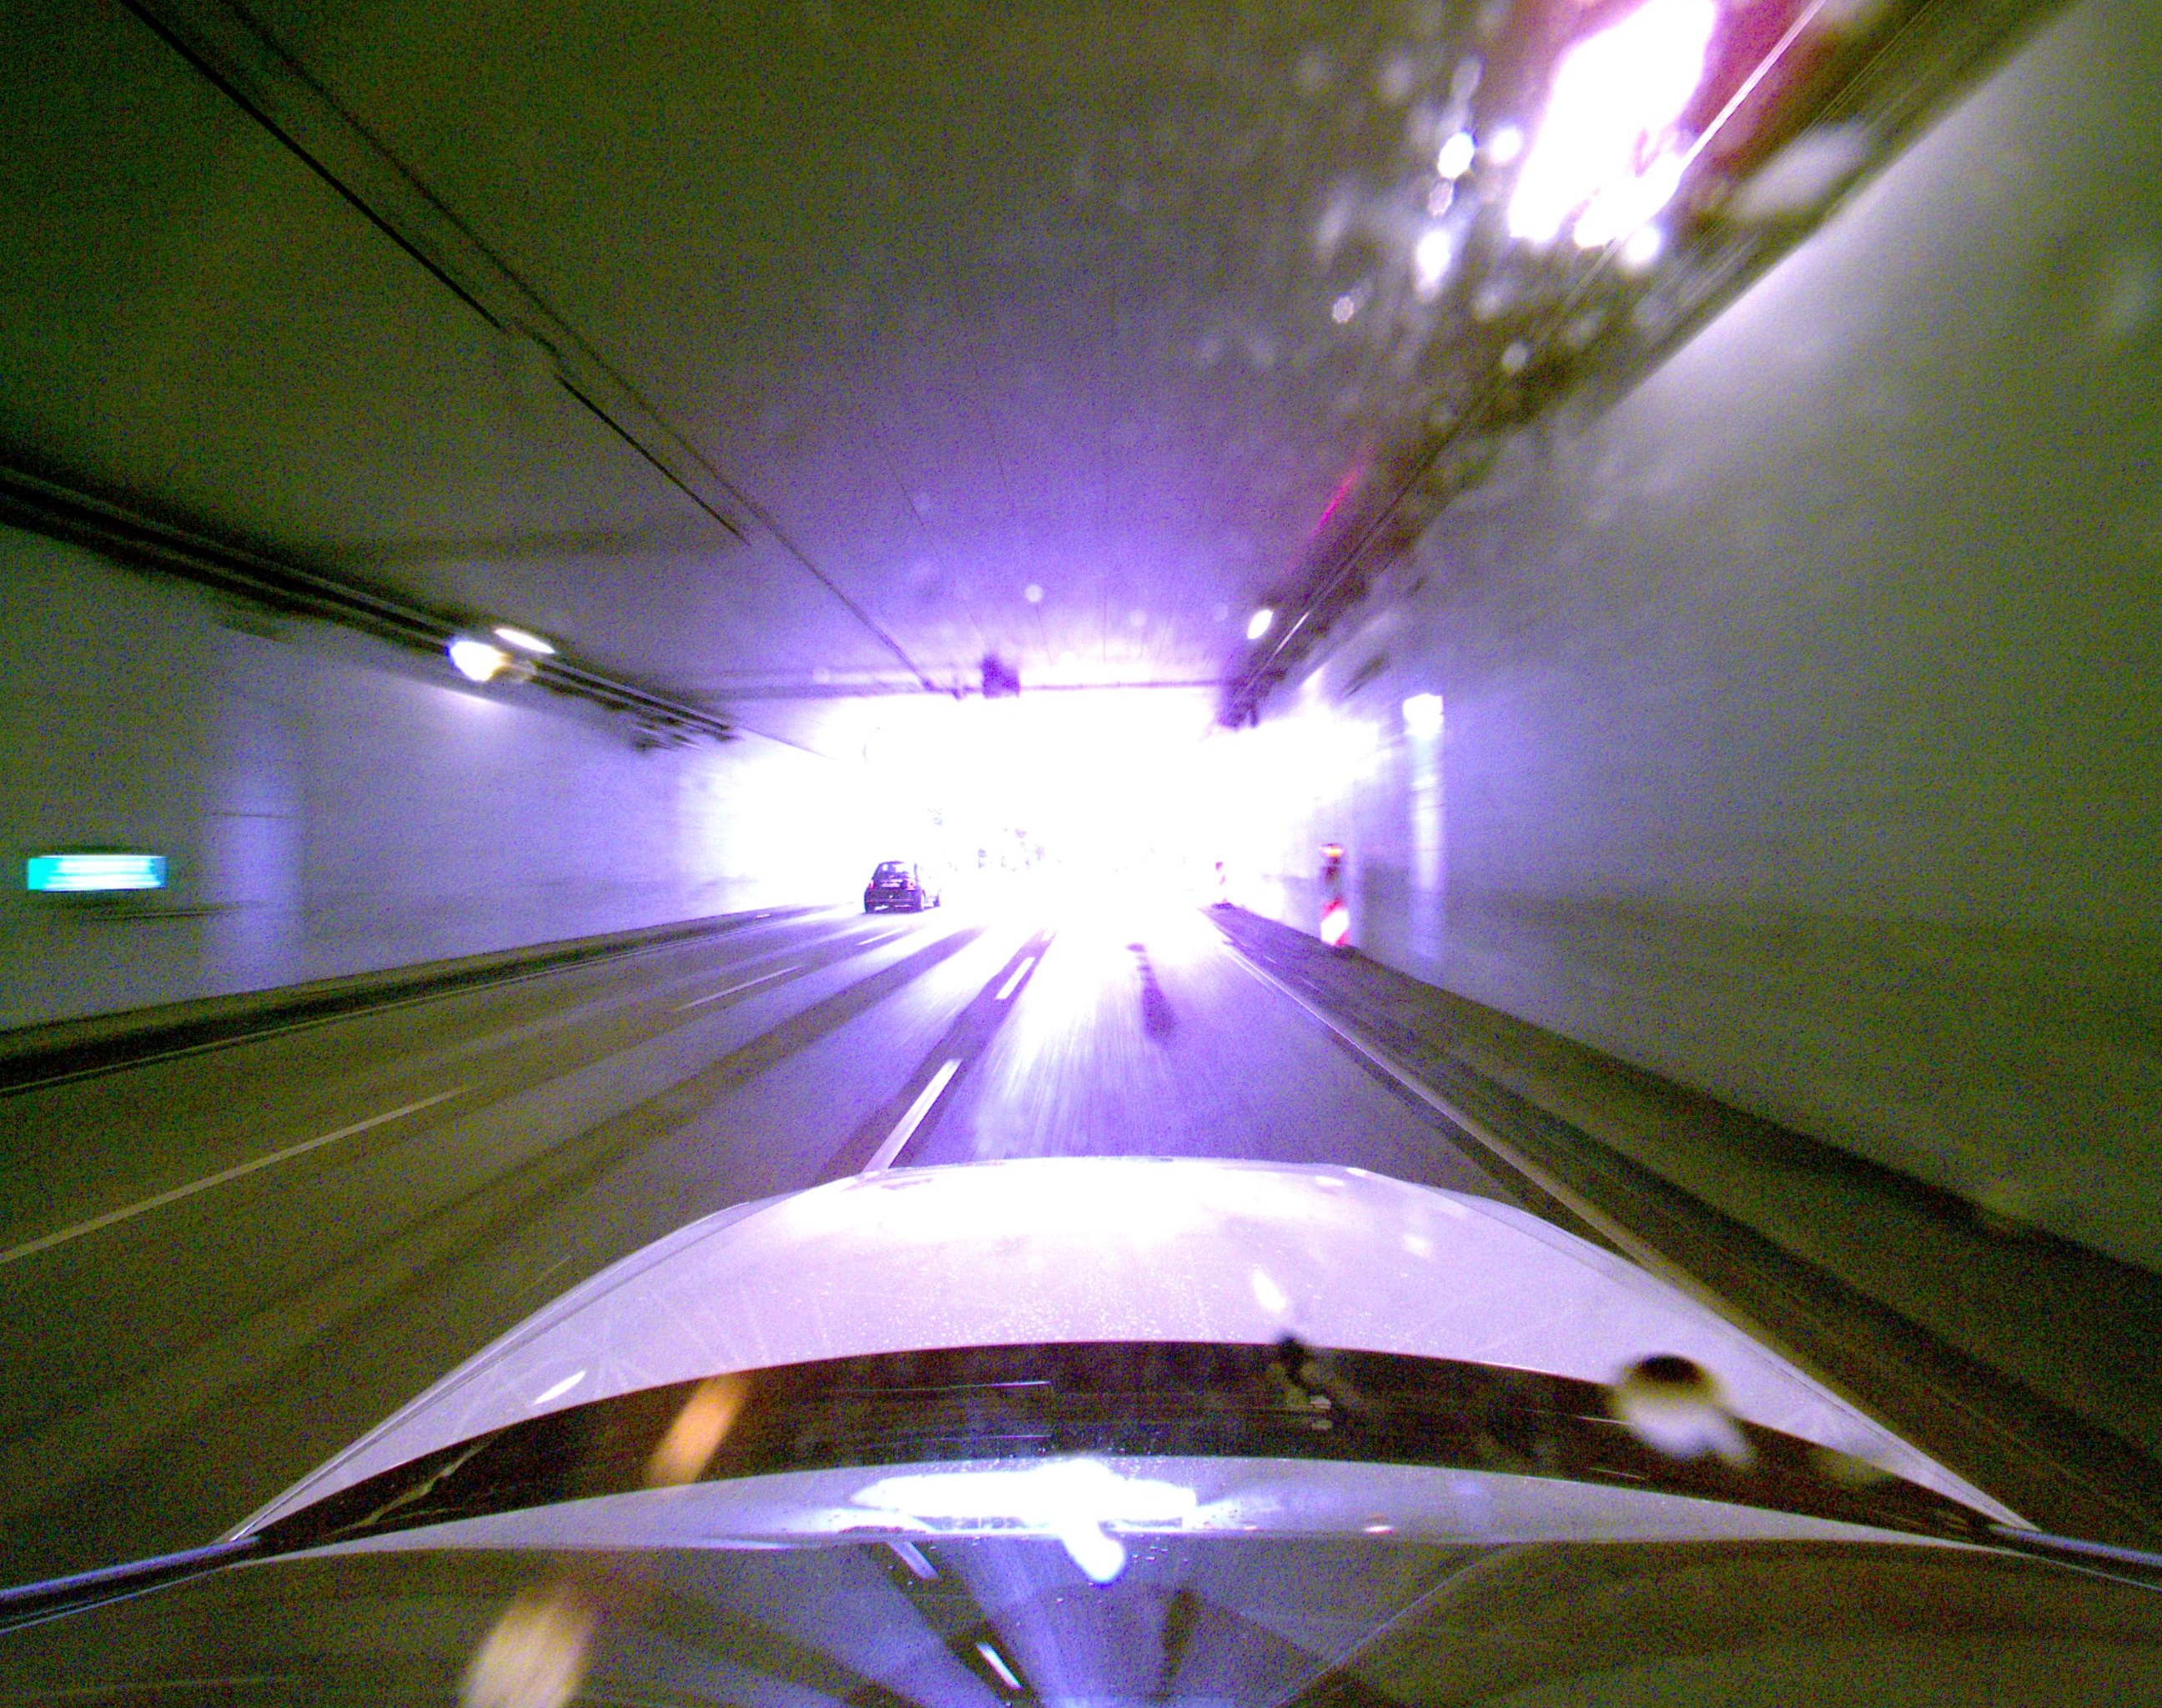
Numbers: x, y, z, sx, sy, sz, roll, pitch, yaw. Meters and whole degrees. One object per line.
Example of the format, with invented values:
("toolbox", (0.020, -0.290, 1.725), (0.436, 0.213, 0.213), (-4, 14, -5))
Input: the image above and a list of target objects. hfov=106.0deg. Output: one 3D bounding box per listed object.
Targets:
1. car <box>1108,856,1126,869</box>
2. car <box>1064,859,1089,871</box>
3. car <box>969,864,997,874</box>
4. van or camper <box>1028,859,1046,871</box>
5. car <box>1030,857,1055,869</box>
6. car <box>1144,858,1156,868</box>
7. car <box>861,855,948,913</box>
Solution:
("car", (3.989, 0.965, 90.717), (1.986, 1.448, 4.316), (-2, -1, 2))
("car", (-0.653, 1.583, 119.759), (1.903, 1.684, 3.961), (-1, 0, -30))
("car", (-16.133, 2.519, 134.055), (3.951, 1.514, 1.909), (-2, 0, 24))
("van or camper", (-7.914, 2.065, 148.255), (2.116, 2.014, 5.327), (-2, -1, 9))
("car", (-5.977, 1.396, 127.479), (1.907, 1.684, 3.954), (-3, 1, -38))
("car", (13.659, 1.775, 161.039), (1.986, 2.014, 4.001), (-2, -1, 1))
("car", (-5.069, 0.822, 23.814), (1.606, 1.454, 3.574), (-2, 0, 1))
